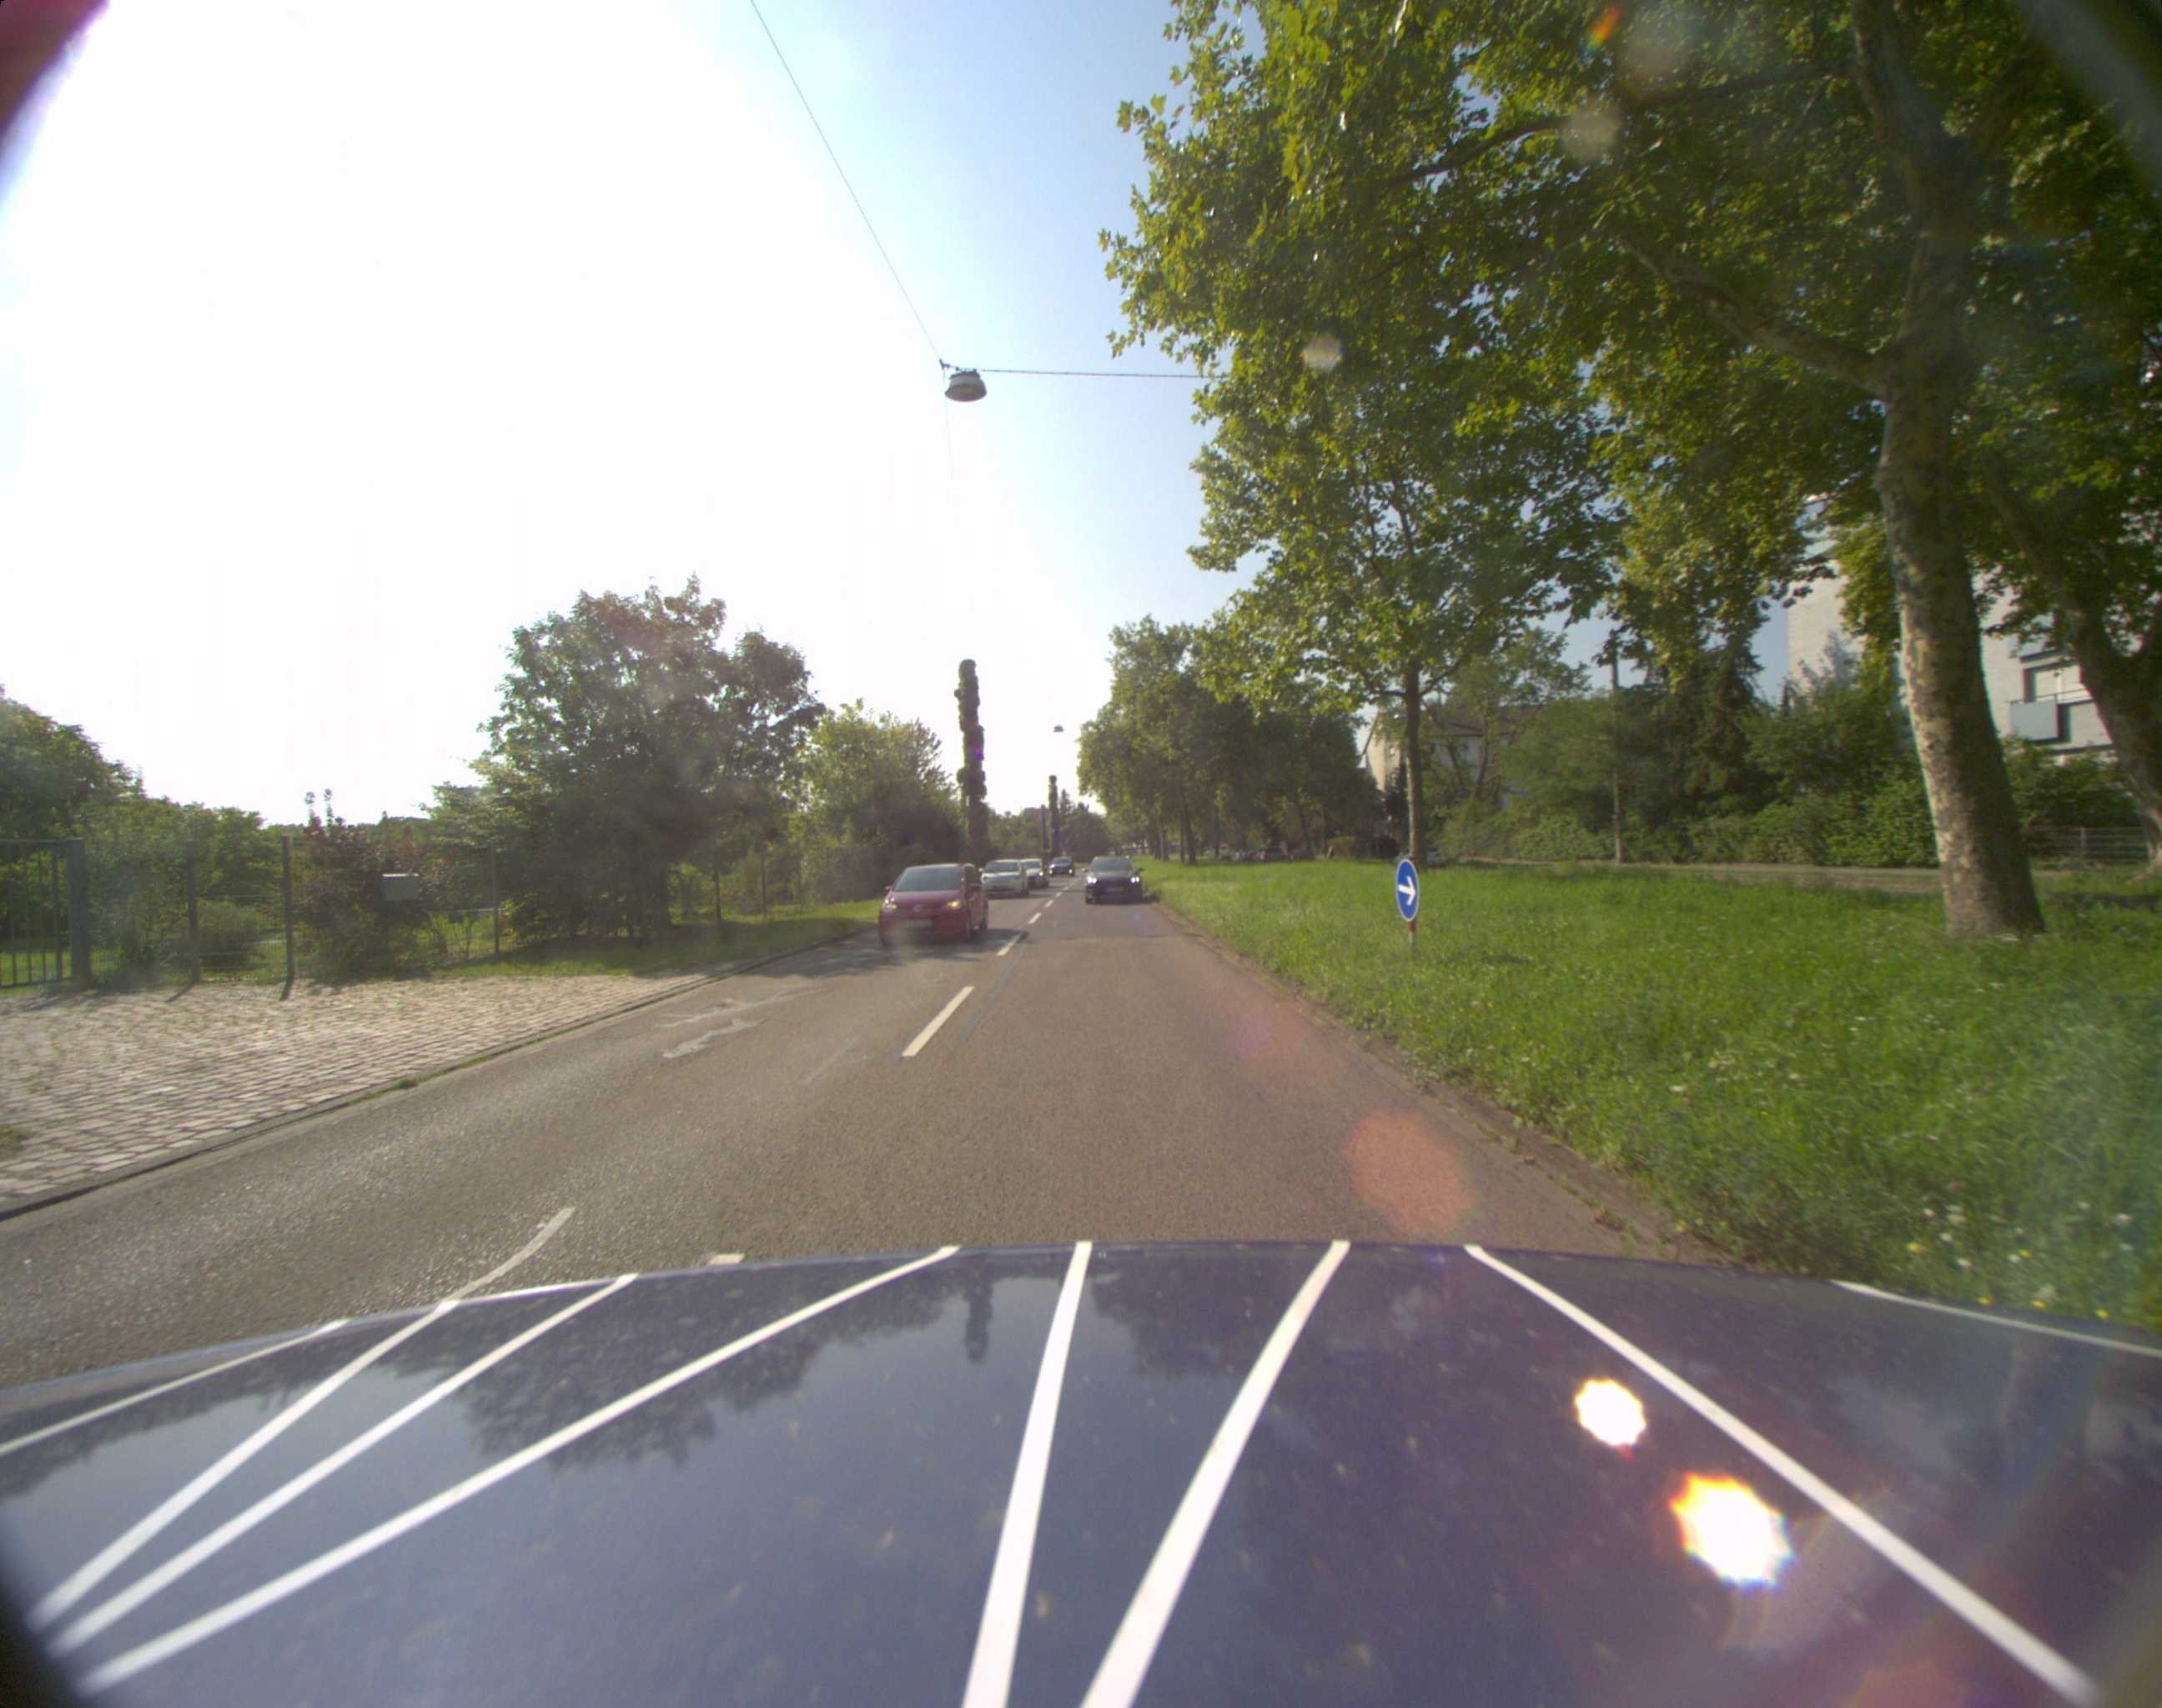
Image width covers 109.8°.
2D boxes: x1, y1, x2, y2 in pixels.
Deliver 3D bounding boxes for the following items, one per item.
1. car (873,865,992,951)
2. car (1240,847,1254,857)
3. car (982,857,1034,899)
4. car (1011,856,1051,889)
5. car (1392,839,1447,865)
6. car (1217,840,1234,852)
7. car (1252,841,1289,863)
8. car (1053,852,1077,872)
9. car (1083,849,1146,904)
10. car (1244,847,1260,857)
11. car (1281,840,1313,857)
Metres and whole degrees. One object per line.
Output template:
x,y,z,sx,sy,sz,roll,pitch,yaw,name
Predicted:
-2.845,0.988,15.228,1.579,1.390,3.472,-1,1,2,car
24.542,-0.311,112.430,1.613,1.398,3.523,-2,0,4,car
-2.932,0.932,31.081,1.649,1.467,3.898,-3,1,0,car
-2.505,0.914,38.979,1.649,1.467,3.899,-3,1,2,car
20.822,-0.156,46.887,1.649,1.471,3.899,-3,1,2,car
20.570,-1.140,108.264,1.649,1.471,3.899,-3,1,2,car
15.054,-0.186,60.632,1.779,1.607,4.856,-3,1,2,car
-1.216,0.610,59.294,1.649,1.378,3.899,-3,1,2,car
1.076,0.670,25.074,1.862,1.572,3.612,-3,1,2,car
24.204,-0.335,107.554,1.613,1.284,3.523,-3,1,4,car
18.726,-0.448,66.001,1.649,1.356,3.899,-3,0,0,car
